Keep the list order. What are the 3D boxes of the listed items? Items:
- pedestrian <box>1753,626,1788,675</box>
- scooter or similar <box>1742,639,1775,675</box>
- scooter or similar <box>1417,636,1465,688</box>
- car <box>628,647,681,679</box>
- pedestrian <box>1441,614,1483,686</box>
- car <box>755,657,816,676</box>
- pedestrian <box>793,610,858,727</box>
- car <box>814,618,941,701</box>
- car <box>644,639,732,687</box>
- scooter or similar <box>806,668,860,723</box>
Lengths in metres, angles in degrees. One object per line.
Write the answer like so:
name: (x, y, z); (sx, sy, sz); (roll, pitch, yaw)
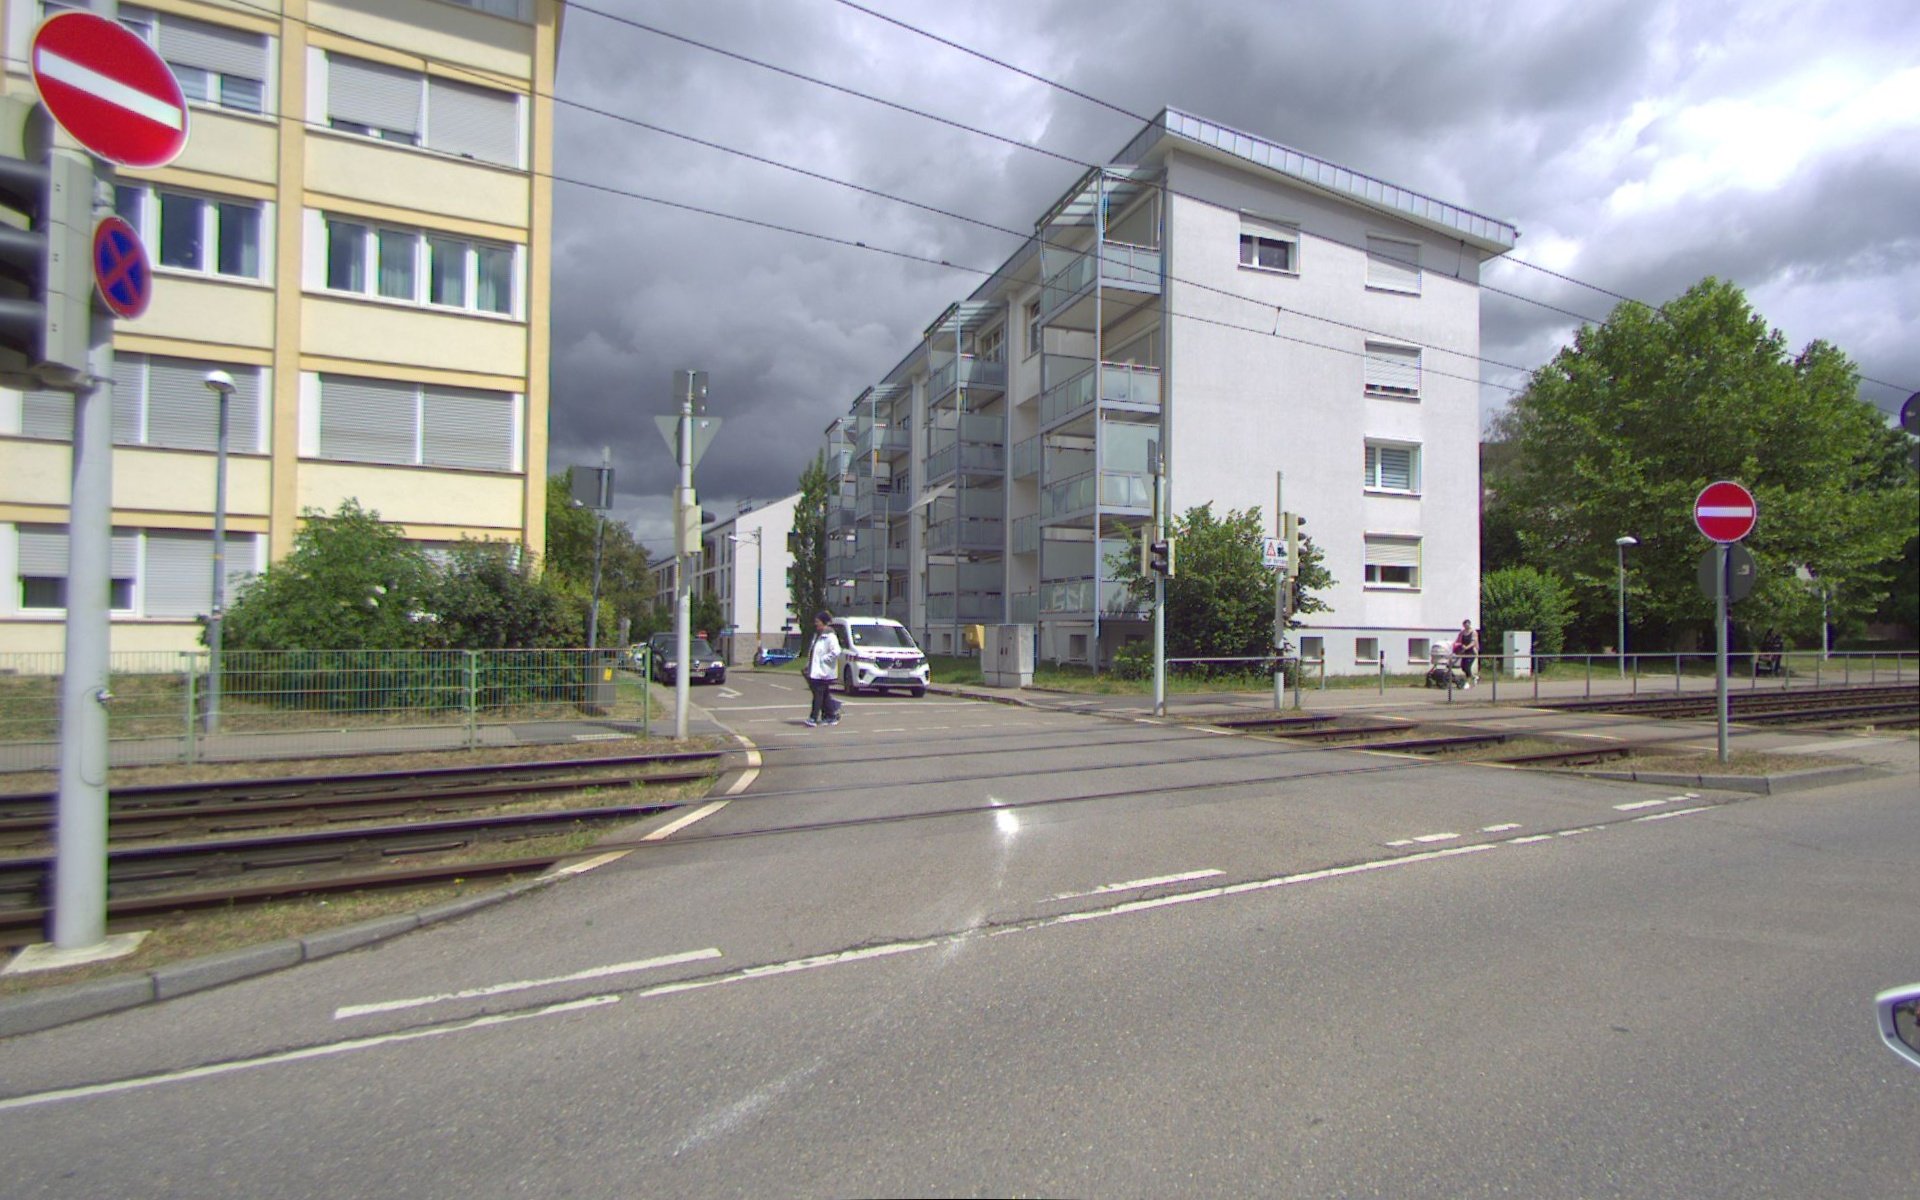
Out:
pedestrian: (26.679, 1.664, 33.062); (0.864, 1.560, 0.610); (2, 0, -30)
scooter or similar: (25.945, 1.837, 32.635); (0.811, 1.130, 0.601); (2, -1, -30)
scooter or similar: (11.418, 1.464, 23.846); (0.881, 1.178, 0.605); (2, -1, -28)
car: (-14.152, 2.894, 46.396); (1.894, 1.312, 3.978); (2, -2, -23)
pedestrian: (12.114, 1.199, 24.244); (0.671, 1.715, 0.642); (1, -1, -28)
car: (-12.459, 4.710, 71.813); (3.950, 1.210, 1.880); (2, 0, -28)
pedestrian: (-1.949, 0.981, 14.546); (0.764, 1.628, 0.601); (1, -2, -30)
car: (-2.041, 1.314, 23.556); (1.784, 1.752, 4.269); (2, -1, -22)
car: (-7.914, 1.776, 29.016); (1.894, 1.186, 3.978); (2, -2, -23)
scooter or similar: (-1.901, 1.421, 15.027); (0.658, 0.784, 0.530); (2, -2, -30)
